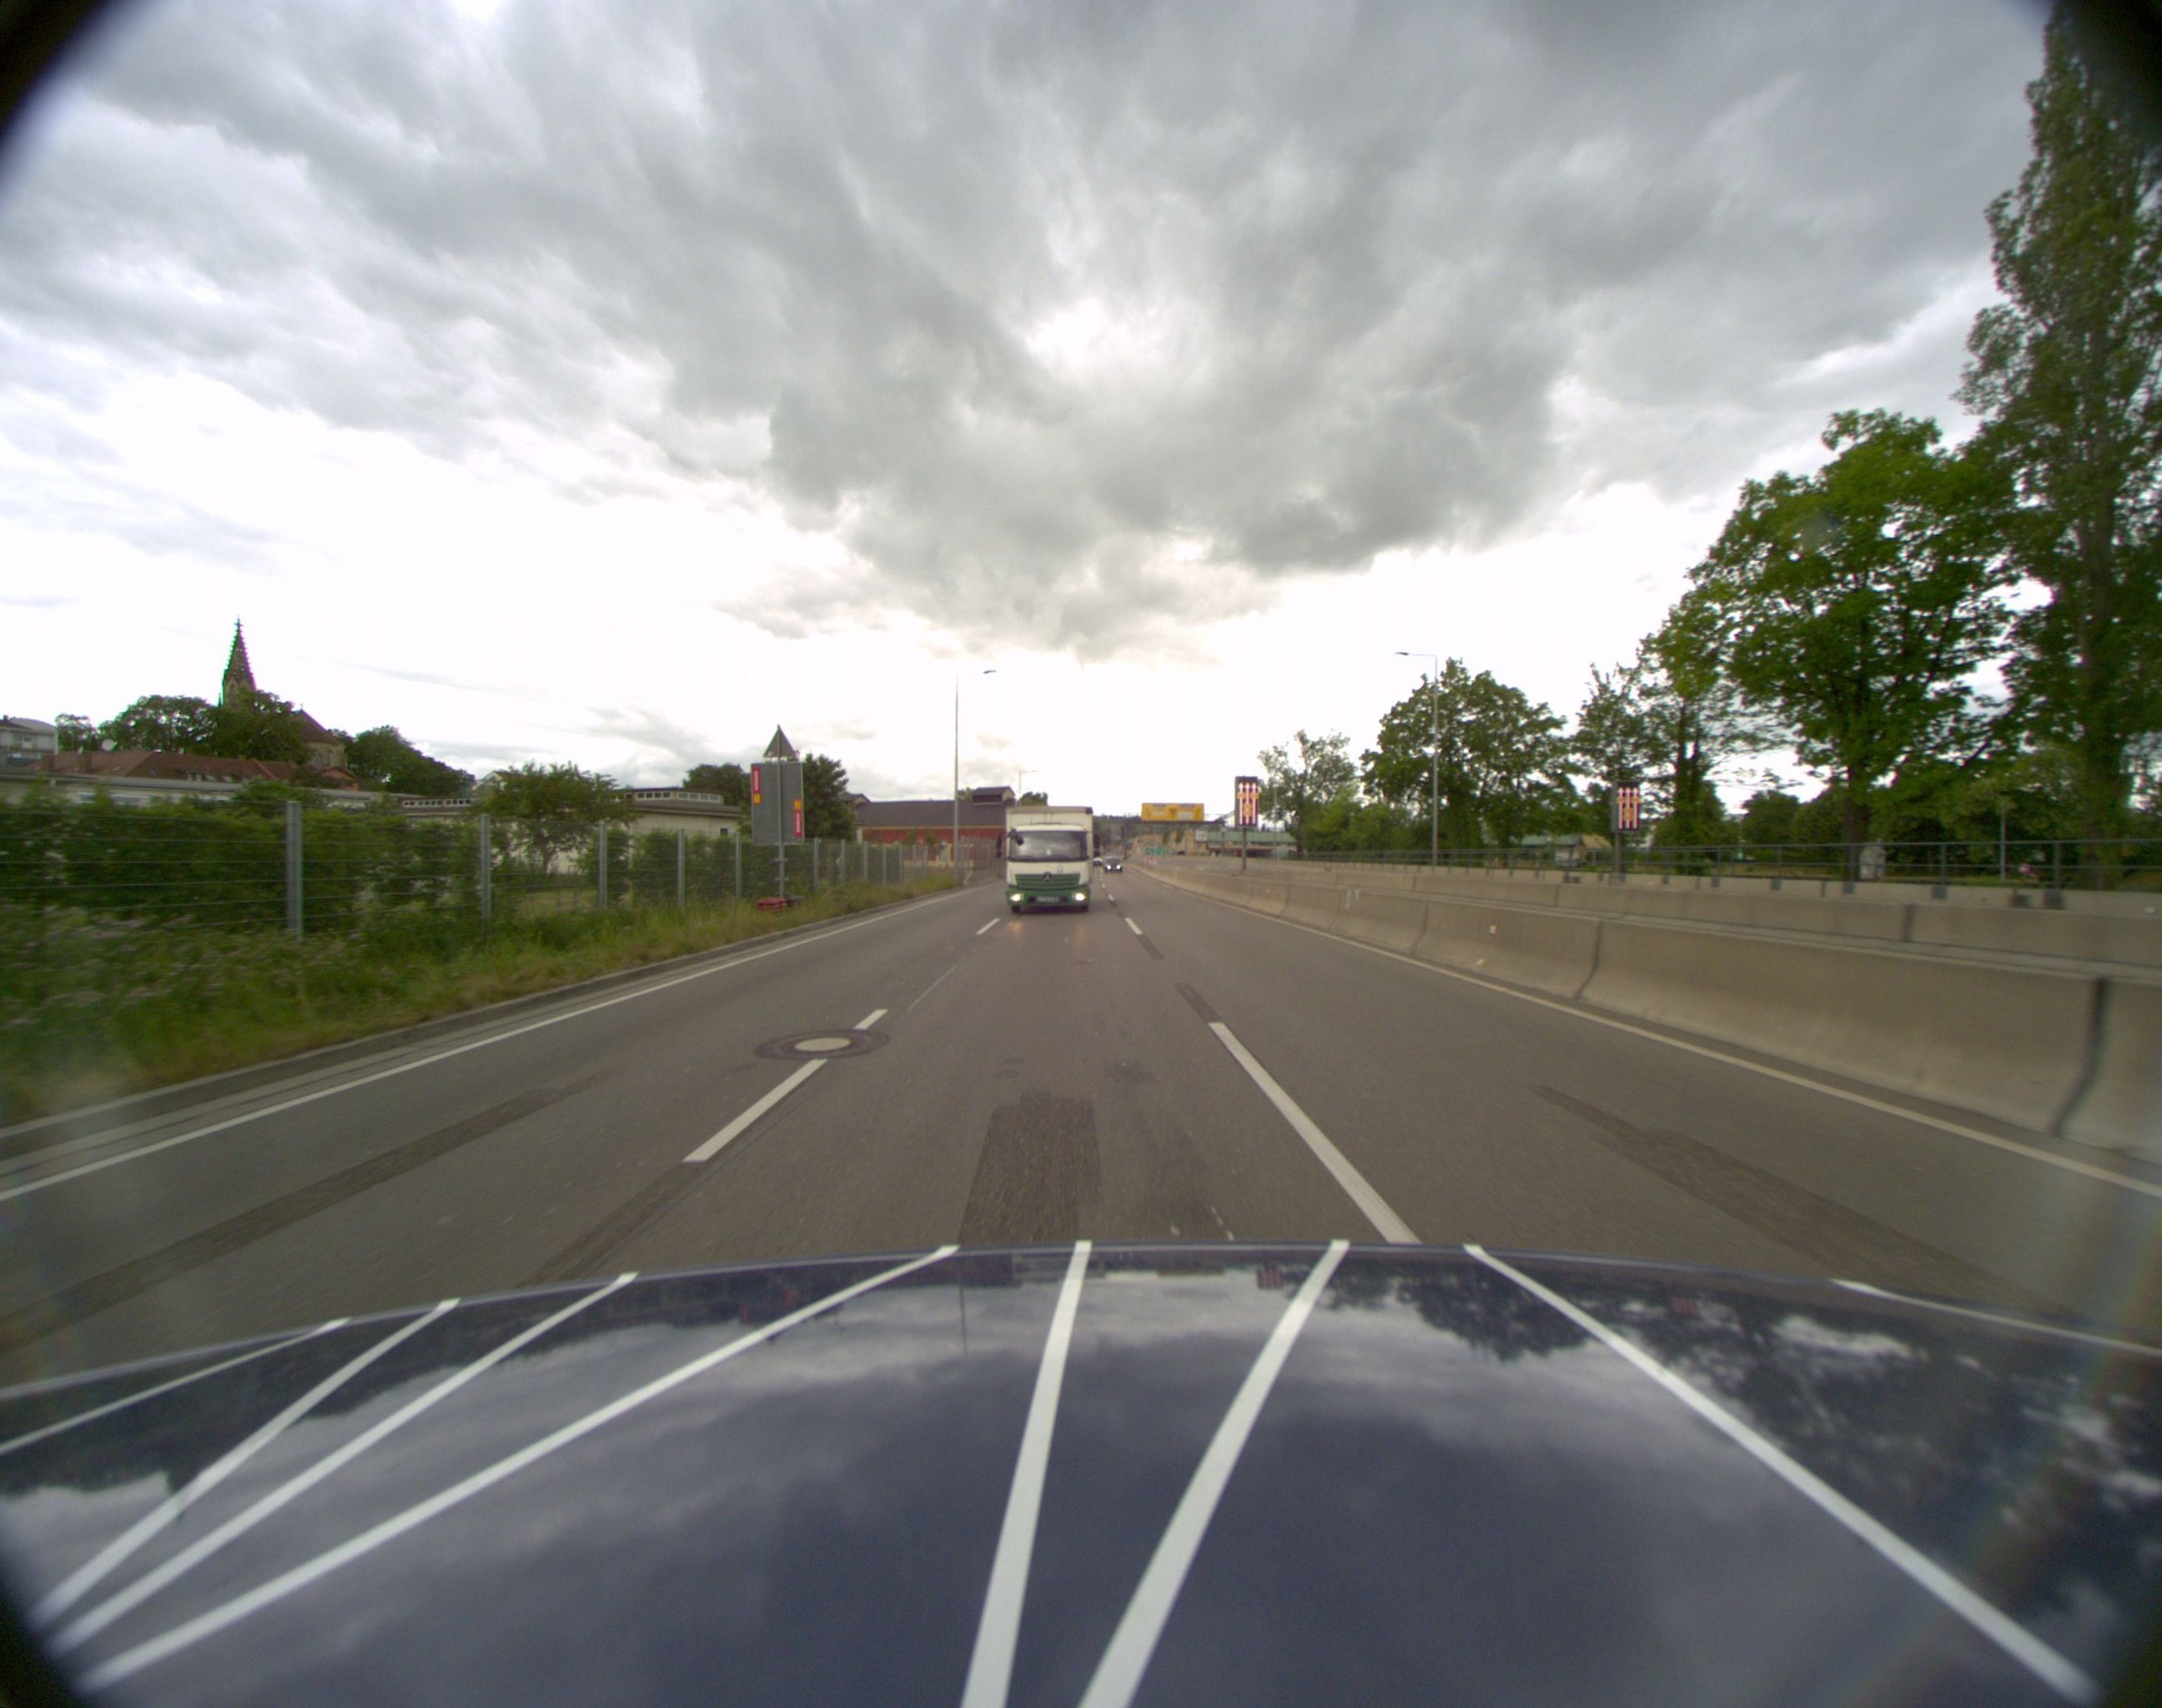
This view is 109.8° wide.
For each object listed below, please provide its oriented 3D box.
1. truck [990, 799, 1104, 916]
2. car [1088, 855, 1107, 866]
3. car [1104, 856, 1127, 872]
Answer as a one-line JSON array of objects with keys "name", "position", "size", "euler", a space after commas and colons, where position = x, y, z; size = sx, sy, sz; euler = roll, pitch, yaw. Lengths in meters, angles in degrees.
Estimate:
[{"name": "truck", "position": [-0.934, 0.073, 24.653], "size": [2.943, 3.065, 8.386], "euler": [-2, 0, 0]}, {"name": "car", "position": [2.380, 0.903, 111.818], "size": [2.000, 1.444, 3.997], "euler": [-2, 0, -9]}, {"name": "car", "position": [3.305, 0.929, 72.952], "size": [1.998, 1.444, 4.000], "euler": [-2, 0, 0]}]
